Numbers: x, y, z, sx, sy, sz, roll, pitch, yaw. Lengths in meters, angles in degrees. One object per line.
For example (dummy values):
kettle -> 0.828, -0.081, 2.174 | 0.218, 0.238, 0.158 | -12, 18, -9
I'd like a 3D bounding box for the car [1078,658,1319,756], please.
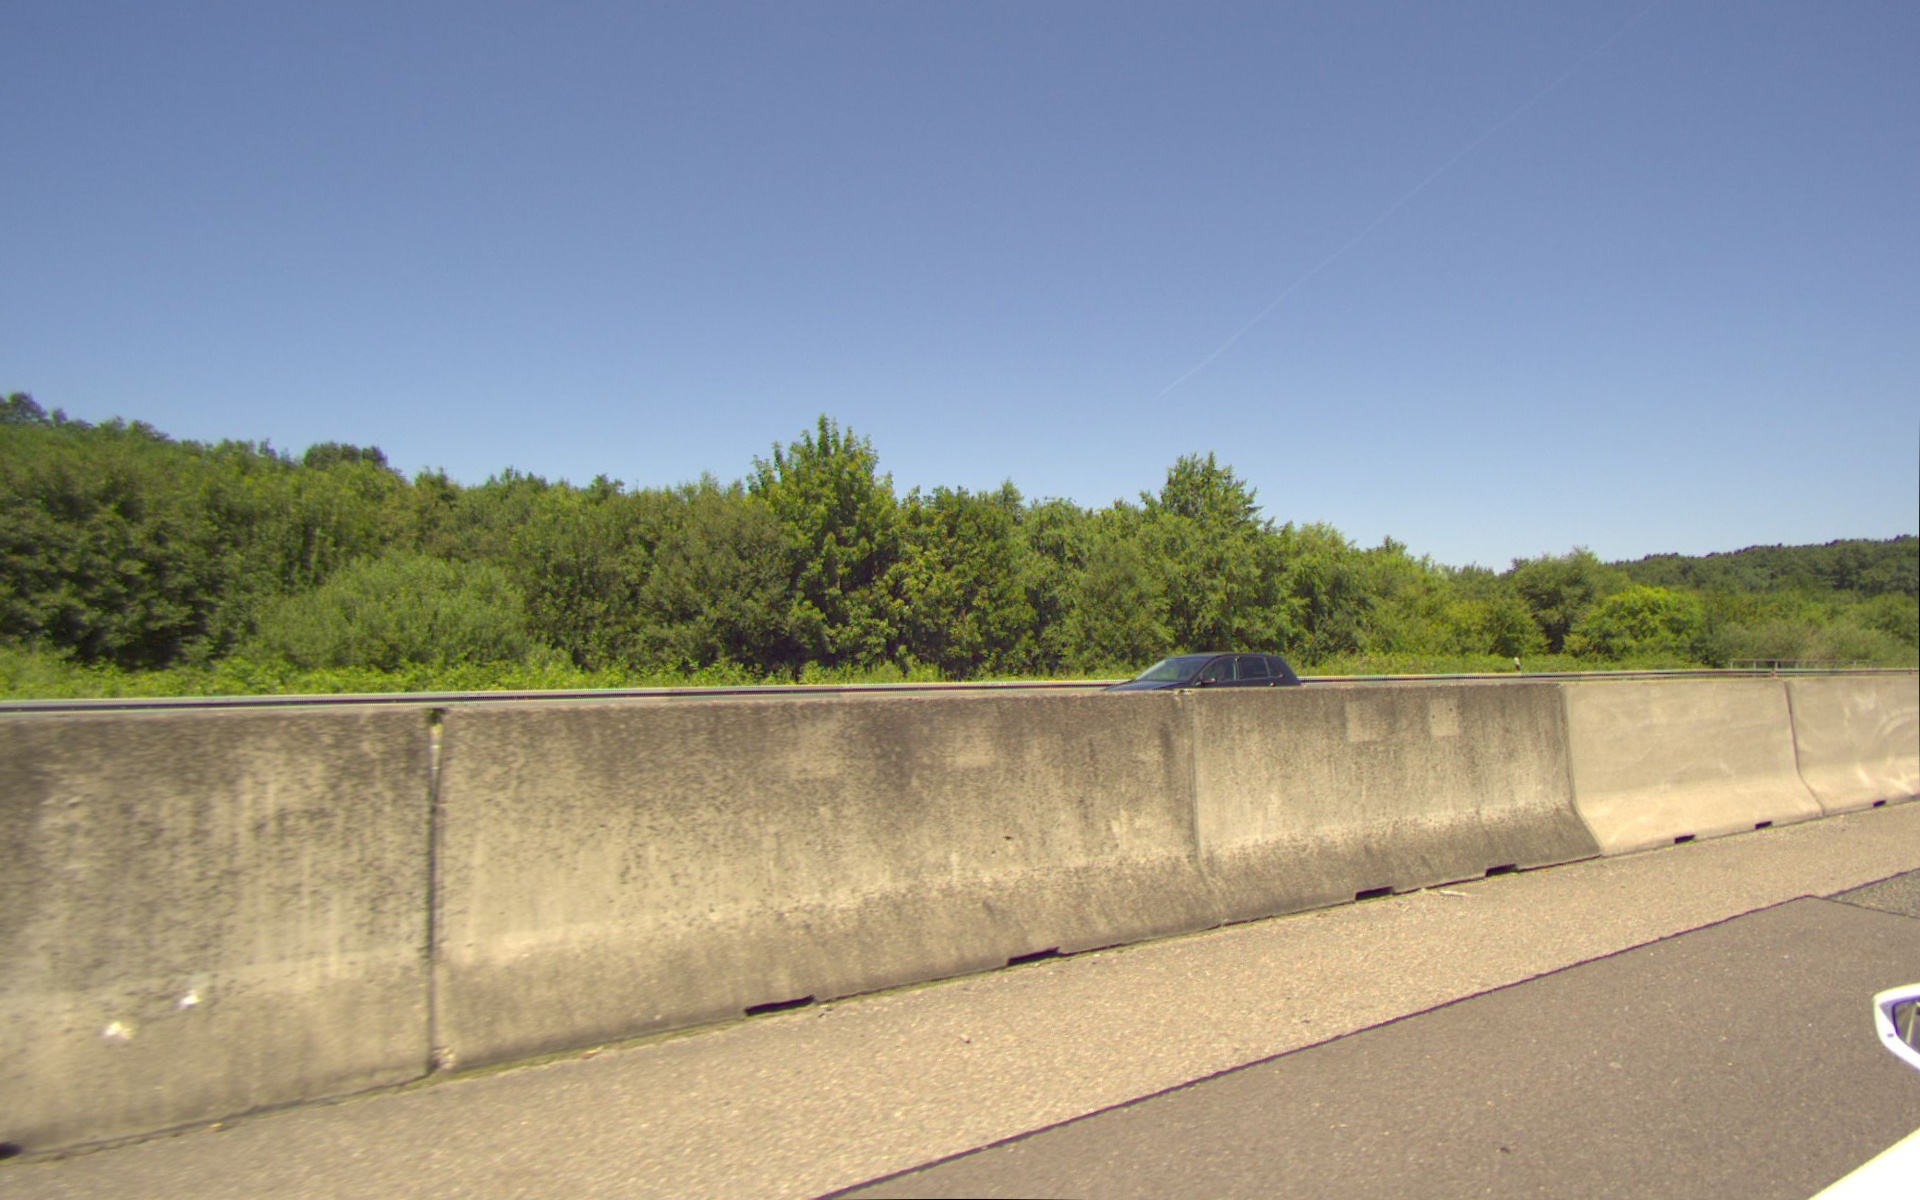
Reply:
car -> 4.138, 1.758, 17.327 | 3.953, 1.491, 1.761 | 2, -3, -30
